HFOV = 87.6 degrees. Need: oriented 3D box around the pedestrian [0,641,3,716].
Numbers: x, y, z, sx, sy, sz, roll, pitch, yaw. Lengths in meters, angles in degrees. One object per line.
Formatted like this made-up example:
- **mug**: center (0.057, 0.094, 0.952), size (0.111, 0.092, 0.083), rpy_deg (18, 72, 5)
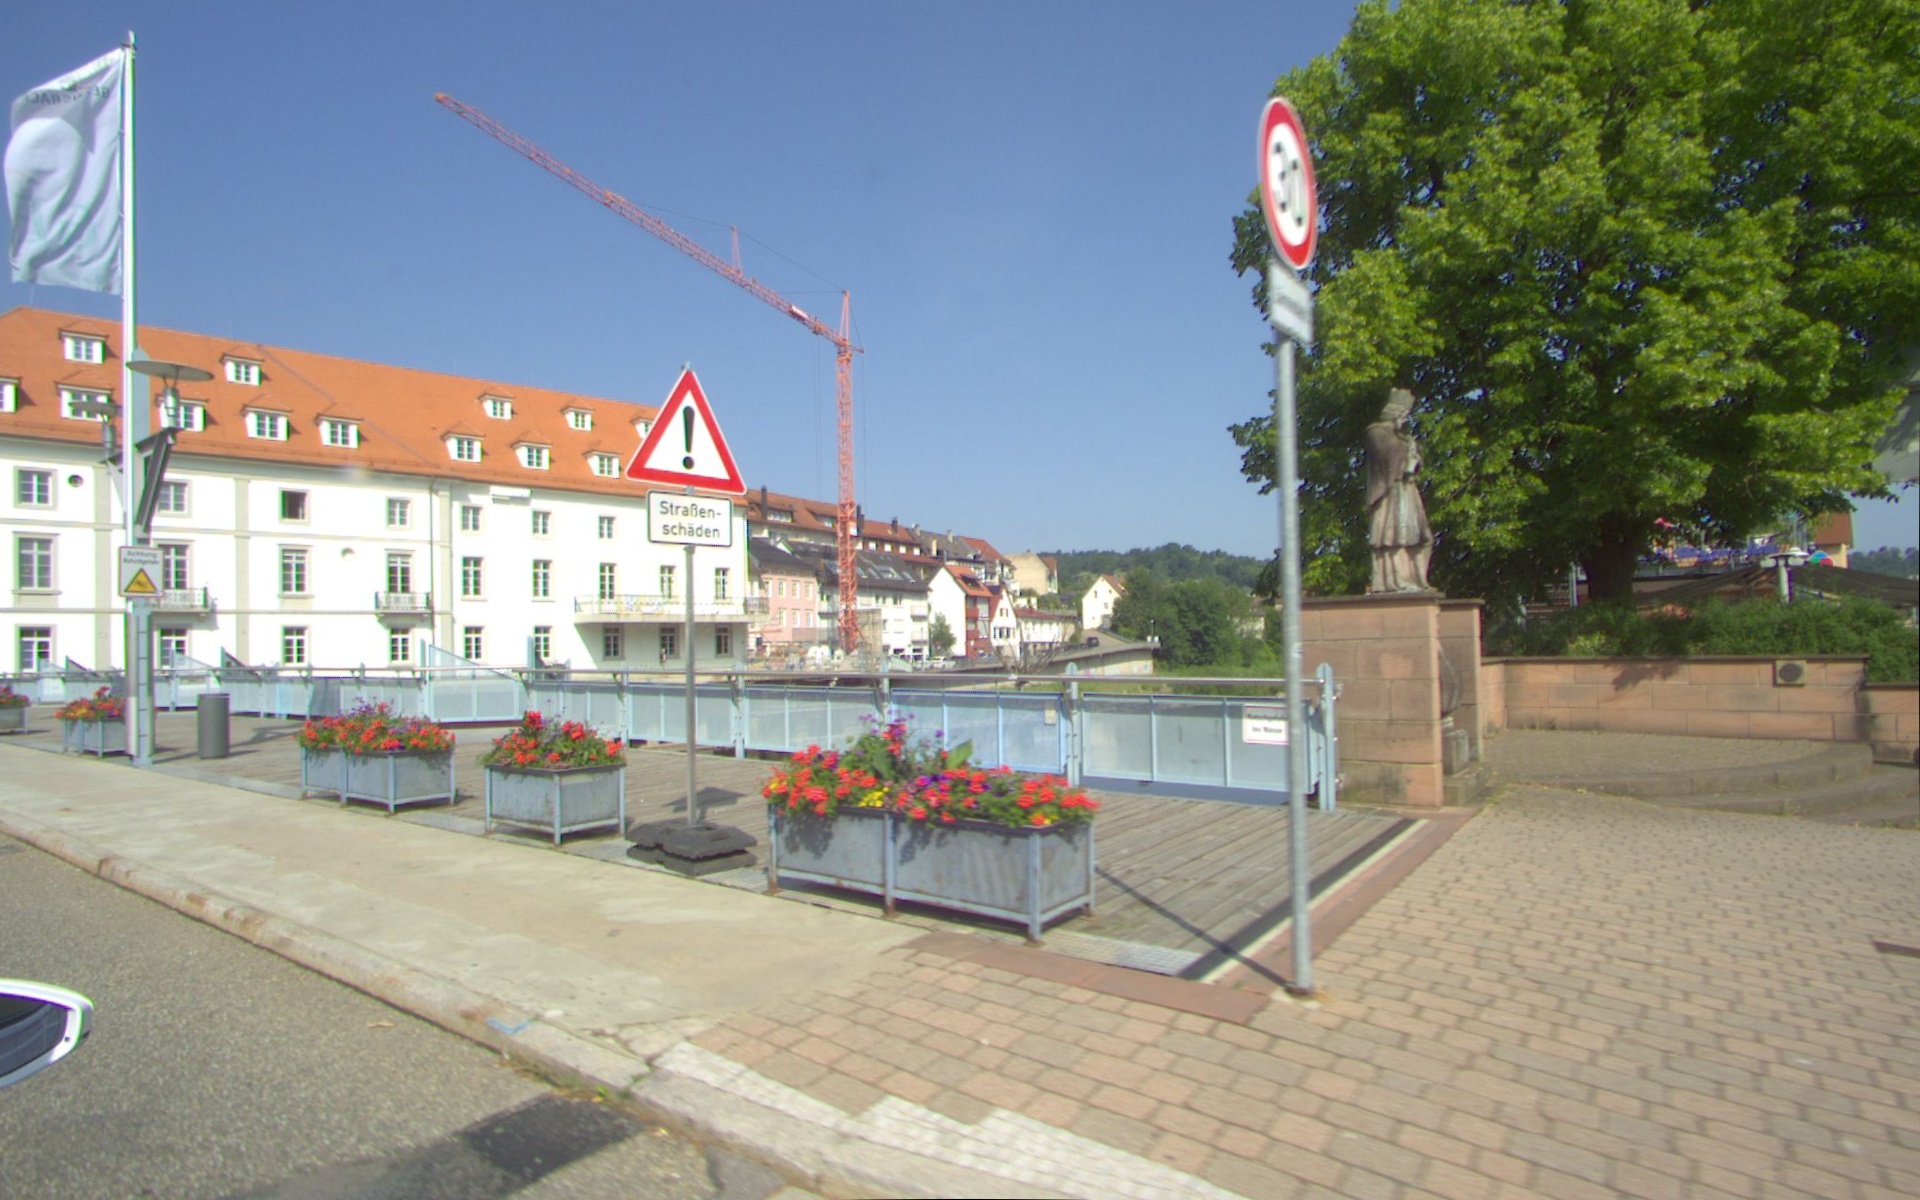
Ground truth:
- **pedestrian**: center (-21.414, 1.721, 21.879), size (0.557, 1.638, 0.662), rpy_deg (-2, -3, 43)
